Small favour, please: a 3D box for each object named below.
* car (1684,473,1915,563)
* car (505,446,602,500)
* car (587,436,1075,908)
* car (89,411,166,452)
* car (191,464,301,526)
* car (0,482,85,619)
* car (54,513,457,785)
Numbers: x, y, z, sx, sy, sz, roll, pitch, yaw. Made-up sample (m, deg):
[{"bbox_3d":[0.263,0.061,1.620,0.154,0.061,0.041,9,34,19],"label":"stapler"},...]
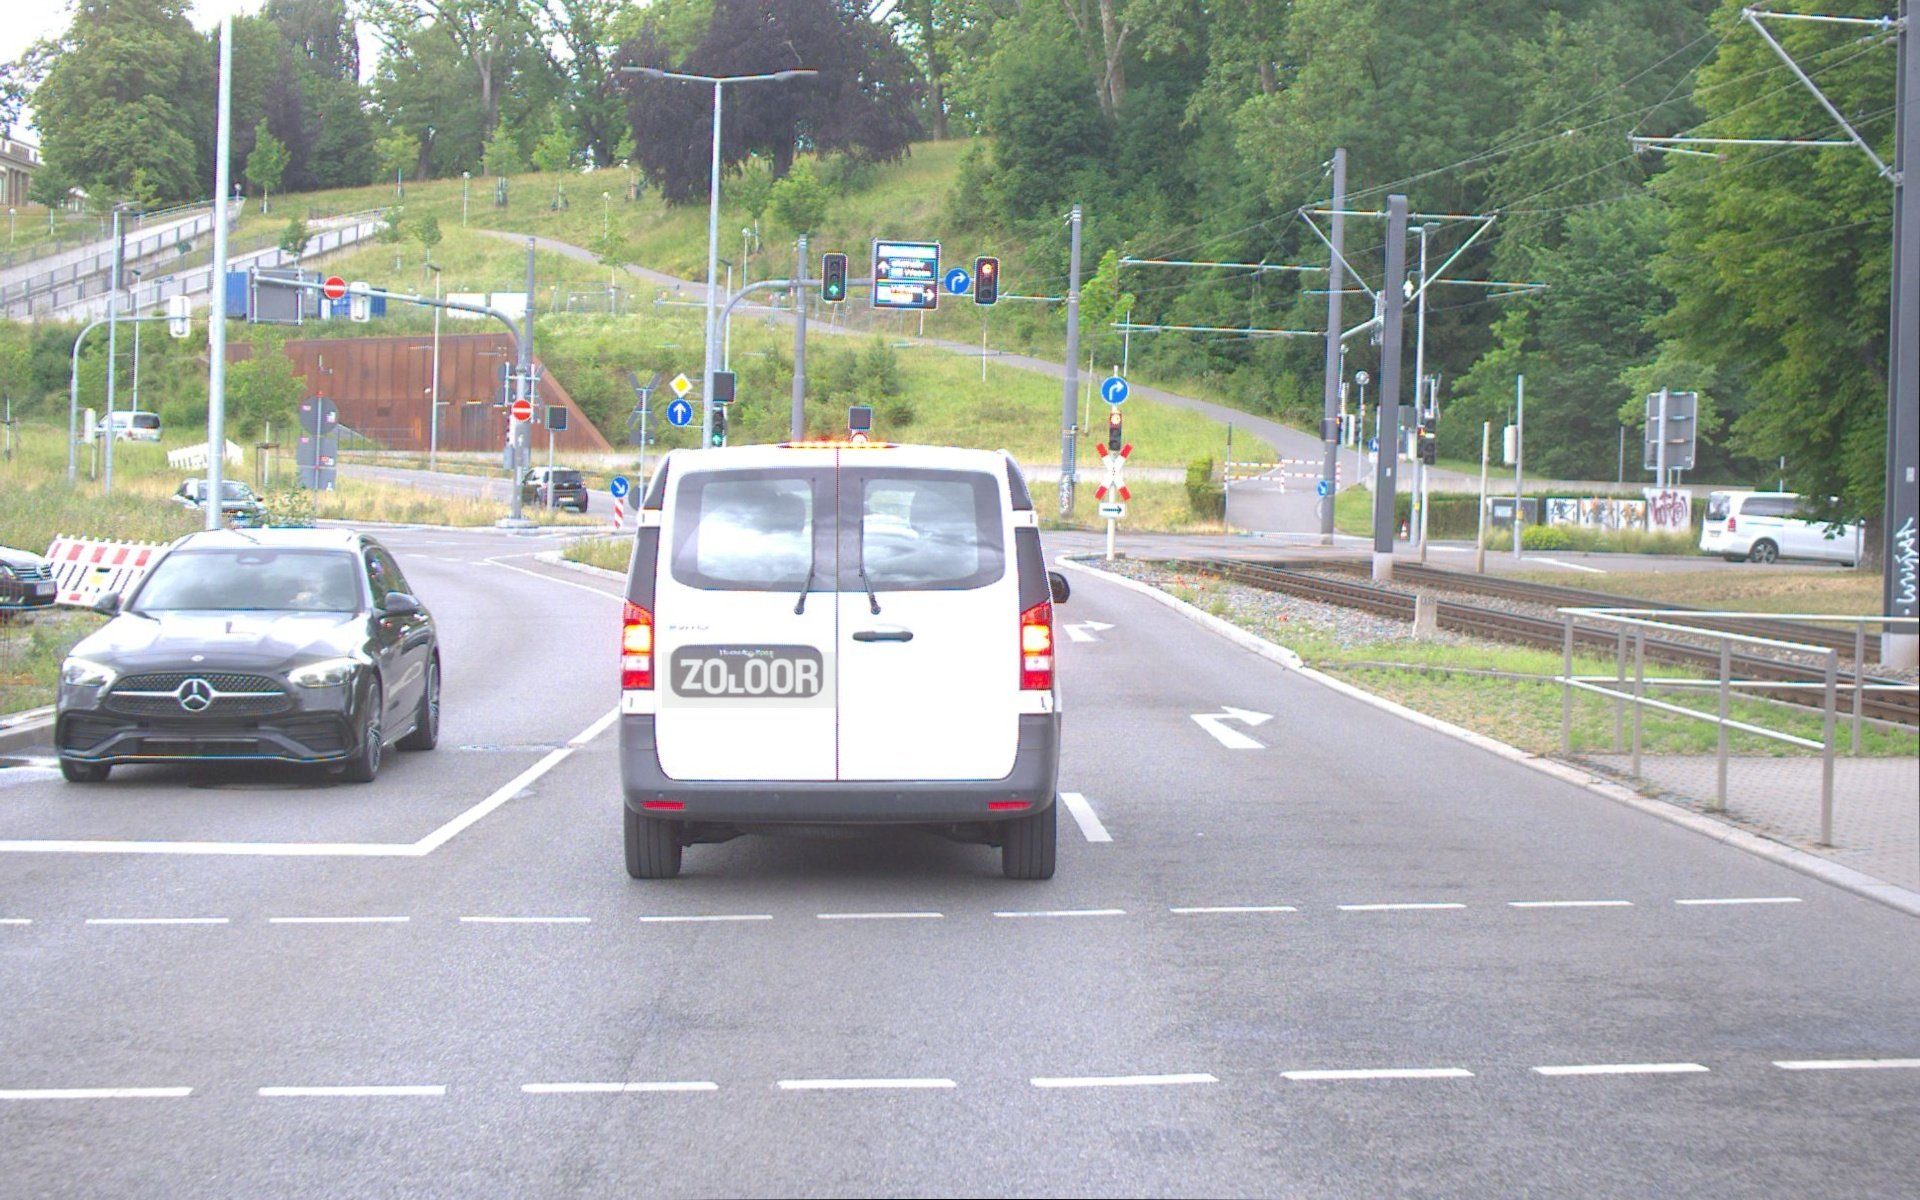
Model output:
[{"bbox_3d":[21.256,-2.086,87.118,5.133,2.006,2.209,3,1,-10],"label":"car"},{"bbox_3d":[-13.481,-4.223,113.849,1.937,1.621,4.001,2,2,-26],"label":"car"},{"bbox_3d":[-0.533,0.224,16.057,1.959,1.897,4.462,0,2,0],"label":"car"},{"bbox_3d":[-35.863,-7.270,148.015,1.937,1.621,4.000,2,2,-33],"label":"car"},{"bbox_3d":[-17.739,-2.618,85.323,1.878,1.472,4.001,0,2,-24],"label":"car"},{"bbox_3d":[-12.616,-0.631,39.197,4.711,1.472,1.999,2,3,9],"label":"car"},{"bbox_3d":[-4.301,0.237,21.642,1.730,1.523,4.445,0,1,-2],"label":"car"}]
